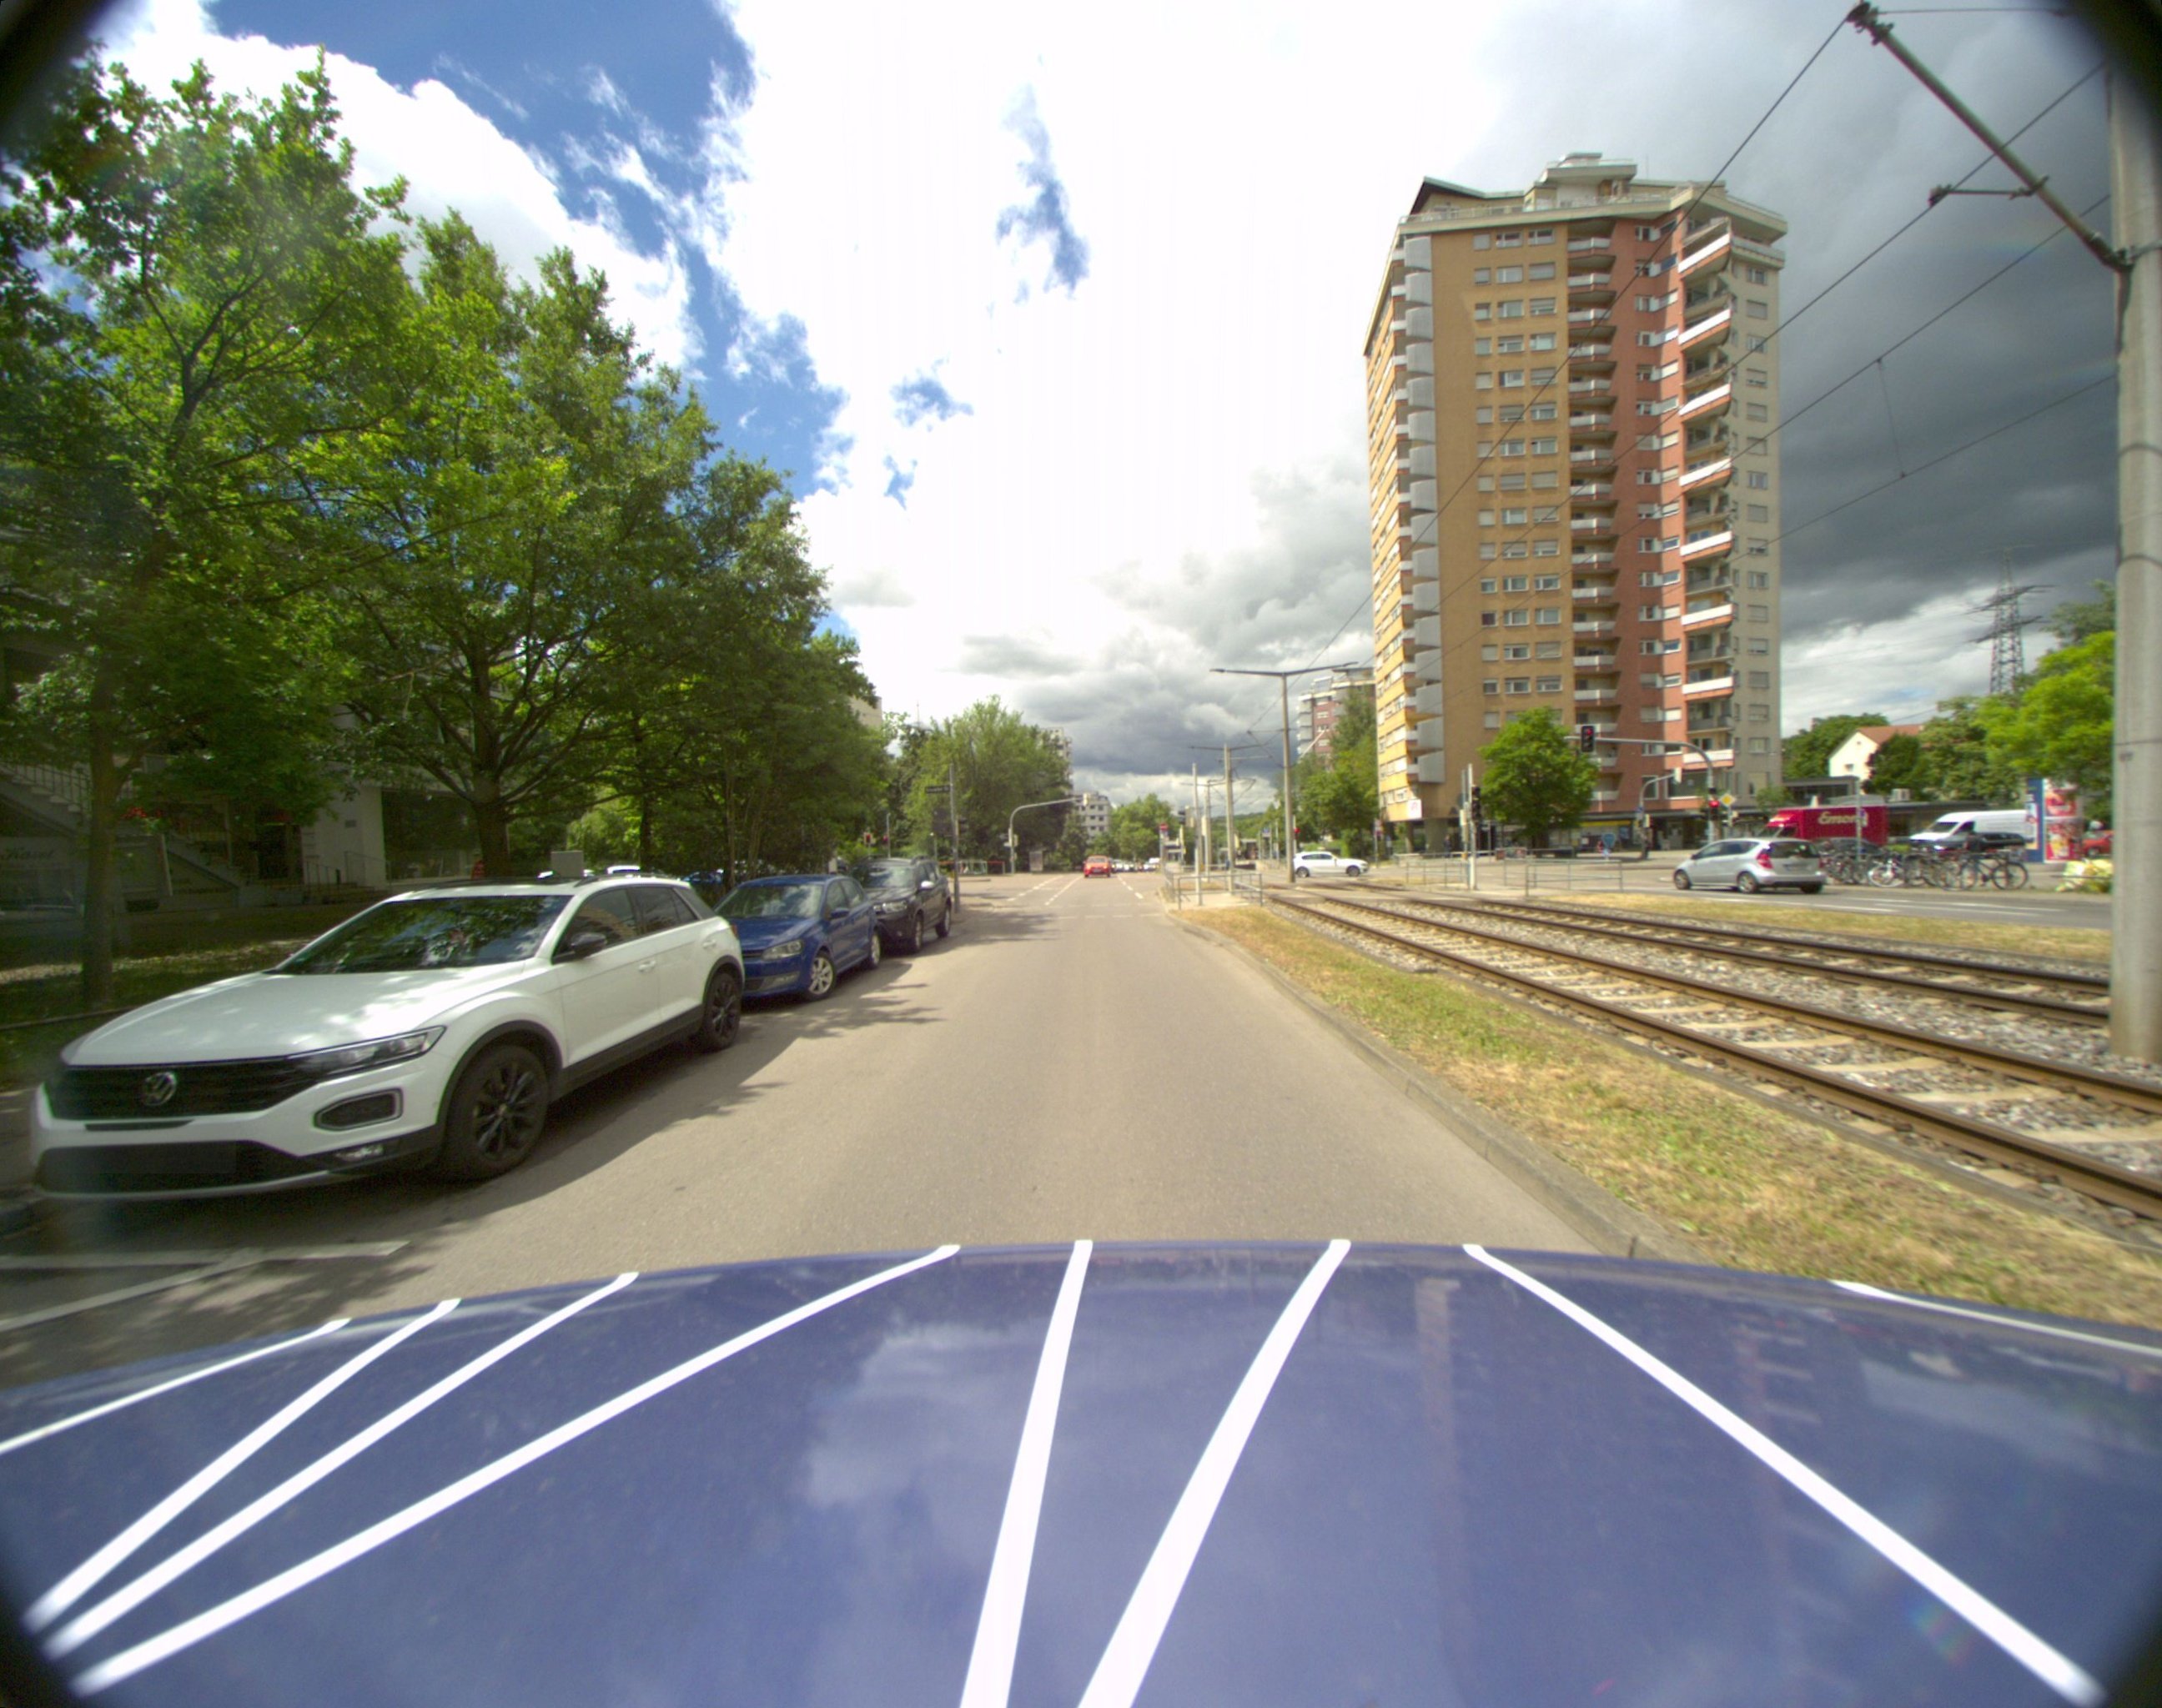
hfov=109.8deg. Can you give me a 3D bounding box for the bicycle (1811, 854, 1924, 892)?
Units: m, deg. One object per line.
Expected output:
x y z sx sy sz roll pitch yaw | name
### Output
23.011 0.565 22.259 2.432 1.060 0.705 -1 0 4 | bicycle

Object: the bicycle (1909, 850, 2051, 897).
22.013 0.478 18.636 2.432 1.028 0.717 -3 0 4 | bicycle

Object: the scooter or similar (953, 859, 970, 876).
-8.791 0.984 55.820 1.185 1.228 0.479 -1 0 -8 | scooter or similar

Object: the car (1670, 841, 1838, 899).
19.240 0.433 21.960 1.822 1.523 3.757 -1 0 7 | car

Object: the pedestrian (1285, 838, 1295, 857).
16.588 -0.514 60.395 0.647 1.504 0.722 -1 0 22 | pedestrian

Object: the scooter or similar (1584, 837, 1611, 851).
41.562 -0.776 61.170 1.751 1.087 0.545 -1 0 1 | scooter or similar

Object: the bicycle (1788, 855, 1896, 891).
23.065 0.569 23.056 2.432 1.060 0.705 -1 0 4 | bicycle

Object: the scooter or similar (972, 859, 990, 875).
-7.436 0.989 56.546 1.170 1.188 0.449 -1 0 9 | scooter or similar

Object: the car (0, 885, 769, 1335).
-3.920 1.082 5.212 1.788 1.556 4.569 -1 0 -2 | car

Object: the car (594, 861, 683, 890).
-24.262 1.164 41.761 3.897 1.405 1.607 -1 2 -4 | car

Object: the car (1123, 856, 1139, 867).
6.929 1.054 104.321 1.844 1.409 4.003 -1 0 9 | car

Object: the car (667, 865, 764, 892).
-18.567 1.227 38.739 3.970 1.218 1.912 -1 2 -2 | car

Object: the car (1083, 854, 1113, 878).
1.183 0.770 50.461 1.819 1.483 4.000 -2 1 3 | car

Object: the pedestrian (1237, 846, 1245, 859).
19.821 -0.220 94.139 0.865 1.597 0.748 -1 0 5 | pedestrian

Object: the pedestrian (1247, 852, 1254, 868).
21.036 0.712 94.265 0.770 1.920 0.573 -1 0 3 | pedestrian

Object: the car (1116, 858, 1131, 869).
5.129 1.141 92.085 1.605 1.207 3.773 -1 0 7 | car

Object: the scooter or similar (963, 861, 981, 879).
-8.728 1.301 61.039 1.212 1.284 0.534 -4 -2 -29 | scooter or similar

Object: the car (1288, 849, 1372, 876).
13.983 0.476 42.718 4.265 1.443 1.798 -1 1 26 | car

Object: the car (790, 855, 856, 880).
-16.419 0.867 48.526 3.794 1.529 1.681 -1 0 -12 | car

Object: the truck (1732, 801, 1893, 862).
46.255 -1.348 48.256 7.089 3.653 2.549 -1 0 11 | truck

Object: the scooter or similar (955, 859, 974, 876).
-8.393 0.951 54.778 1.212 1.228 0.478 -1 0 -23 | scooter or similar

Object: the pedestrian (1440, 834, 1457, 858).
29.538 -0.658 61.098 0.920 1.923 0.854 -1 0 5 | pedestrian

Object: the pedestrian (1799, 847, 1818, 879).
33.669 0.418 35.160 0.517 1.463 0.527 -1 0 30 | pedestrian

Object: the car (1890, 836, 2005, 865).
50.009 -0.188 43.949 3.993 1.592 2.002 -1 0 13 | car

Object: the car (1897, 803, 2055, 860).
54.369 -1.324 46.283 6.294 3.280 2.002 -1 0 12 | car

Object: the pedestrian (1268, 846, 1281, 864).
18.014 0.082 70.872 0.910 1.588 0.721 -6 0 5 | pedestrian

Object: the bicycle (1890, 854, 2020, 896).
22.868 0.551 19.916 2.432 1.060 0.705 -1 0 4 | bicycle

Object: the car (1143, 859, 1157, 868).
9.764 1.368 106.912 1.805 1.207 4.024 -1 0 7 | car

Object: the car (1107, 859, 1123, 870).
3.602 1.093 80.111 1.605 1.207 3.773 -1 0 5 | car

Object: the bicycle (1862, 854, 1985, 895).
22.897 0.556 20.686 2.432 1.060 0.705 -1 0 4 | bicycle

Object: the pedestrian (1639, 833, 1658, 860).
38.973 -0.513 52.186 0.889 1.801 0.642 -1 0 -22 | pedestrian

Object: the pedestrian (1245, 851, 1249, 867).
21.587 0.638 98.768 0.532 2.129 0.608 -1 0 9 | pedestrian

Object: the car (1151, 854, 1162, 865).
15.484 1.100 155.606 1.998 2.136 4.001 -1 0 2 | car

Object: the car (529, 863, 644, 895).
-24.892 1.233 38.393 4.402 1.407 1.950 -1 2 -4 | car

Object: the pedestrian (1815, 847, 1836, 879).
34.476 0.425 35.208 0.571 1.463 0.527 -1 0 30 | pedestrian

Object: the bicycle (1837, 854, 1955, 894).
22.970 0.560 21.444 2.432 1.060 0.705 -1 0 4 | bicycle

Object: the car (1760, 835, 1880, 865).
38.278 -0.205 39.413 4.674 1.390 1.976 -2 1 -7 | car

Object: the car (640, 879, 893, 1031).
-3.779 1.120 9.960 1.648 1.449 4.076 -1 0 -1 | car

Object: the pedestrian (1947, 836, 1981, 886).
29.332 0.227 25.237 0.417 1.633 0.601 -1 0 2 | pedestrian

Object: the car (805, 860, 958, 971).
-3.563 0.999 14.455 1.648 1.752 4.570 -1 0 1 | car

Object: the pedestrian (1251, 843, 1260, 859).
20.019 -0.356 87.243 0.865 1.763 0.748 -1 0 5 | pedestrian
